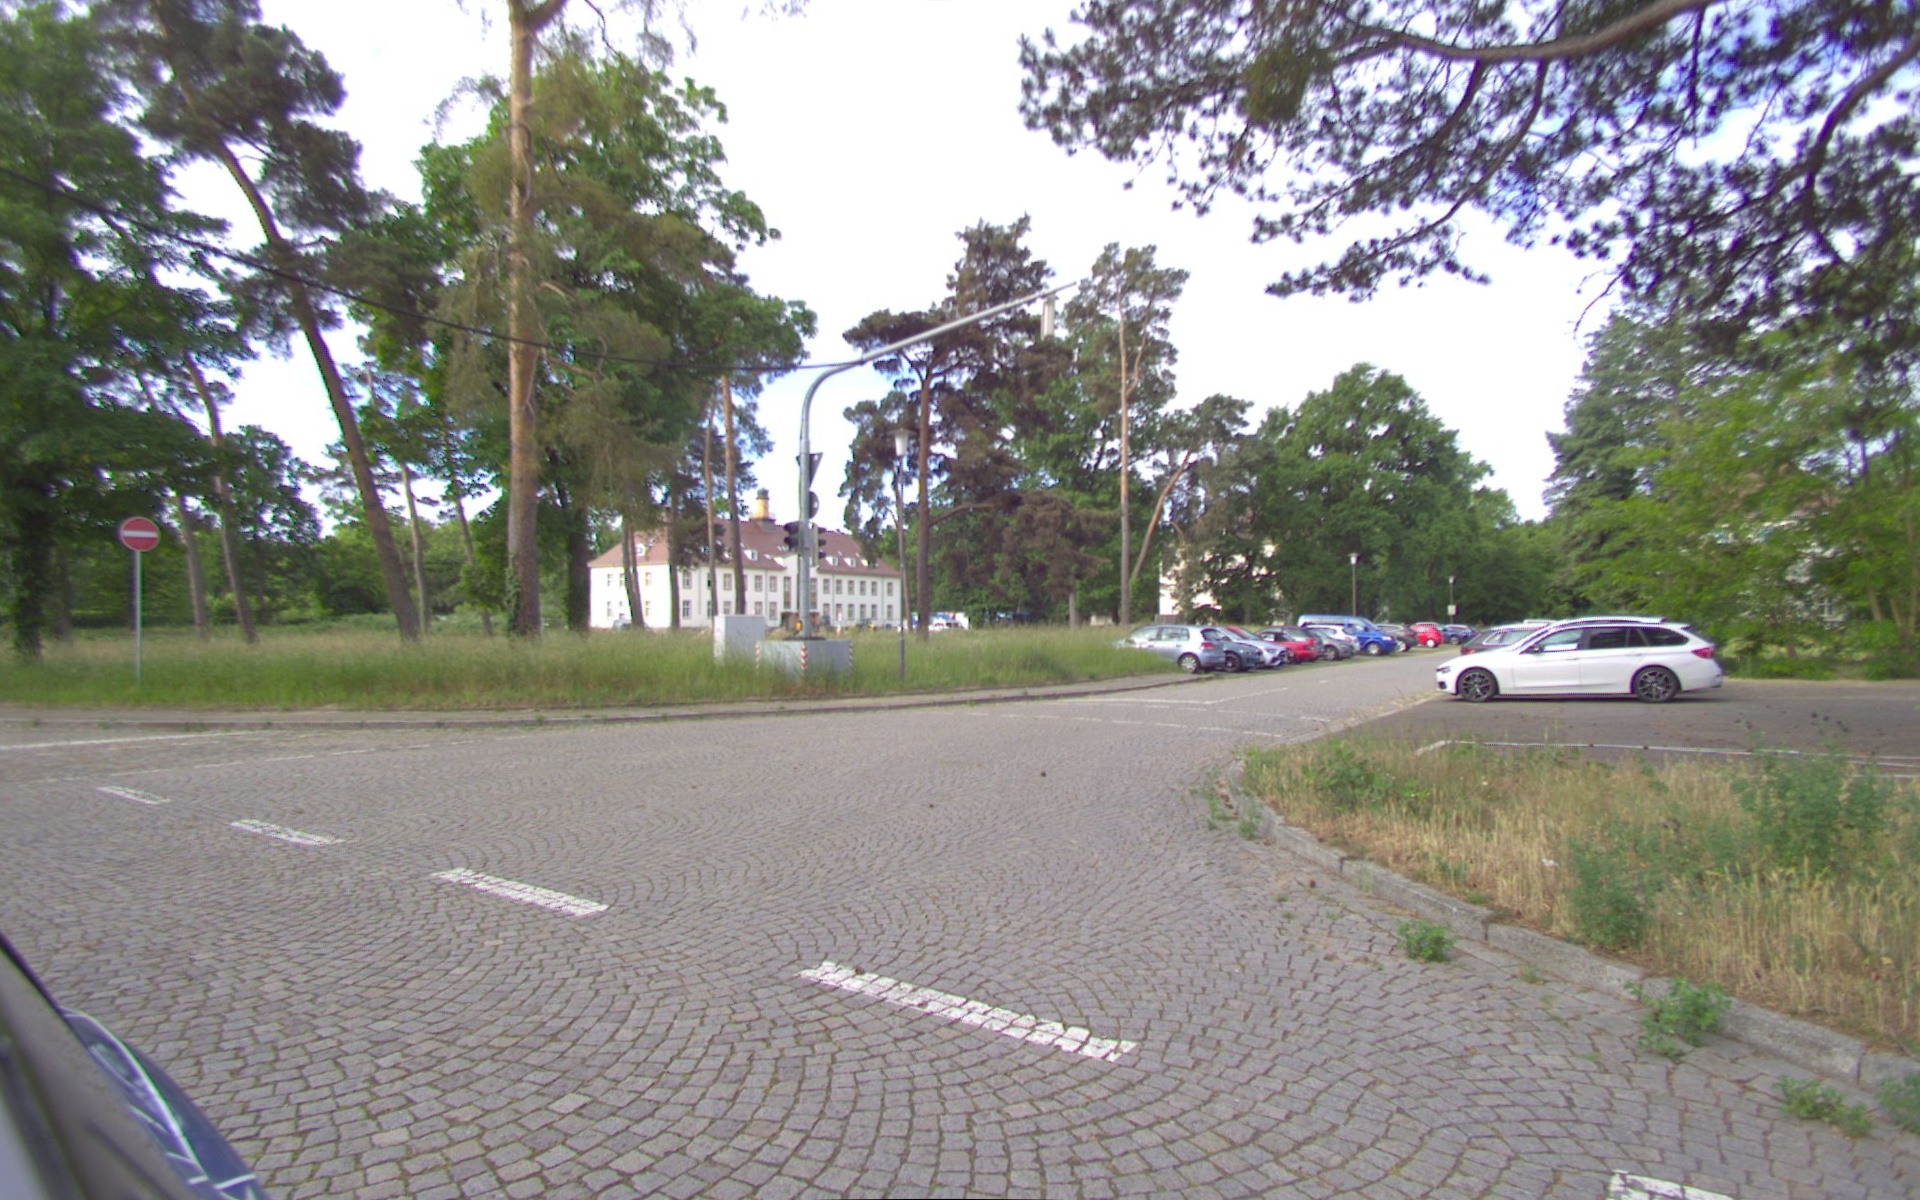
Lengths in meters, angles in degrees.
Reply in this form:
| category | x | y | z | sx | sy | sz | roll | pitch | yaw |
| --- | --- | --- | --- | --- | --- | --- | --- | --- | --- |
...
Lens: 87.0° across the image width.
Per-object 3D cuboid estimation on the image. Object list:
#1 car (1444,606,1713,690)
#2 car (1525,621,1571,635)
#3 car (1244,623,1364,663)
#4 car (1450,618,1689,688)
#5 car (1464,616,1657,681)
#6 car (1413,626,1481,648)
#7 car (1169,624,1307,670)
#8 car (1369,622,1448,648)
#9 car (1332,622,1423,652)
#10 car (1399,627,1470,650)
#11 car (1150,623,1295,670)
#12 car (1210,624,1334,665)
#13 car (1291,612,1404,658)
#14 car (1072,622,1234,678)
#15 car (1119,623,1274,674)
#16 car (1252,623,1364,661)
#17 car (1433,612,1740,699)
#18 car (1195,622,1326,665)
| category | x | y | z | sx | sy | sz | roll | pitch | yaw |
| --- | --- | --- | --- | --- | --- | --- | --- | --- | --- |
| car | 12.820 | 1.030 | 21.267 | 4.569 | 1.590 | 1.821 | -3 | -3 | 32 |
| car | 67.667 | 3.244 | 116.496 | 4.569 | 1.645 | 1.821 | -1 | -2 | 32 |
| car | 14.824 | 1.863 | 43.674 | 4.569 | 1.571 | 1.821 | -3 | -3 | 32 |
| car | 14.087 | 1.236 | 23.571 | 4.573 | 1.480 | 1.820 | -3 | -3 | 34 |
| car | 15.358 | 1.251 | 25.995 | 4.103 | 1.533 | 1.718 | -3 | -3 | 34 |
| car | 37.760 | 2.875 | 78.529 | 4.569 | 1.533 | 1.821 | -3 | -3 | 32 |
| car | 10.276 | 1.740 | 37.558 | 4.569 | 1.571 | 1.821 | -3 | -3 | 32 |
| car | 29.525 | 2.297 | 66.651 | 4.569 | 1.533 | 1.821 | -3 | -3 | 32 |
| car | 23.969 | 2.135 | 58.142 | 4.569 | 1.533 | 1.821 | -3 | -3 | 32 |
| car | 35.138 | 2.852 | 74.985 | 4.569 | 1.533 | 1.821 | -3 | -3 | 32 |
| car | 9.170 | 1.639 | 35.447 | 4.569 | 1.533 | 1.821 | -3 | -3 | 32 |
| car | 12.836 | 1.843 | 41.742 | 4.569 | 1.533 | 1.821 | -3 | -3 | 32 |
| car | 19.342 | 1.779 | 50.612 | 4.967 | 2.113 | 1.820 | -3 | -3 | 33 |
| car | 5.923 | 1.541 | 31.207 | 4.560 | 1.559 | 1.824 | -3 | -3 | 27 |
| car | 7.735 | 1.594 | 33.233 | 4.569 | 1.533 | 1.821 | -3 | -3 | 32 |
| car | 15.962 | 1.924 | 46.508 | 4.569 | 1.586 | 1.821 | -3 | -3 | 32 |
| car | 11.553 | 1.050 | 19.005 | 4.639 | 1.461 | 1.821 | -3 | -3 | 32 |
| car | 11.666 | 1.698 | 39.404 | 4.569 | 1.533 | 1.821 | -3 | -3 | 32 |
